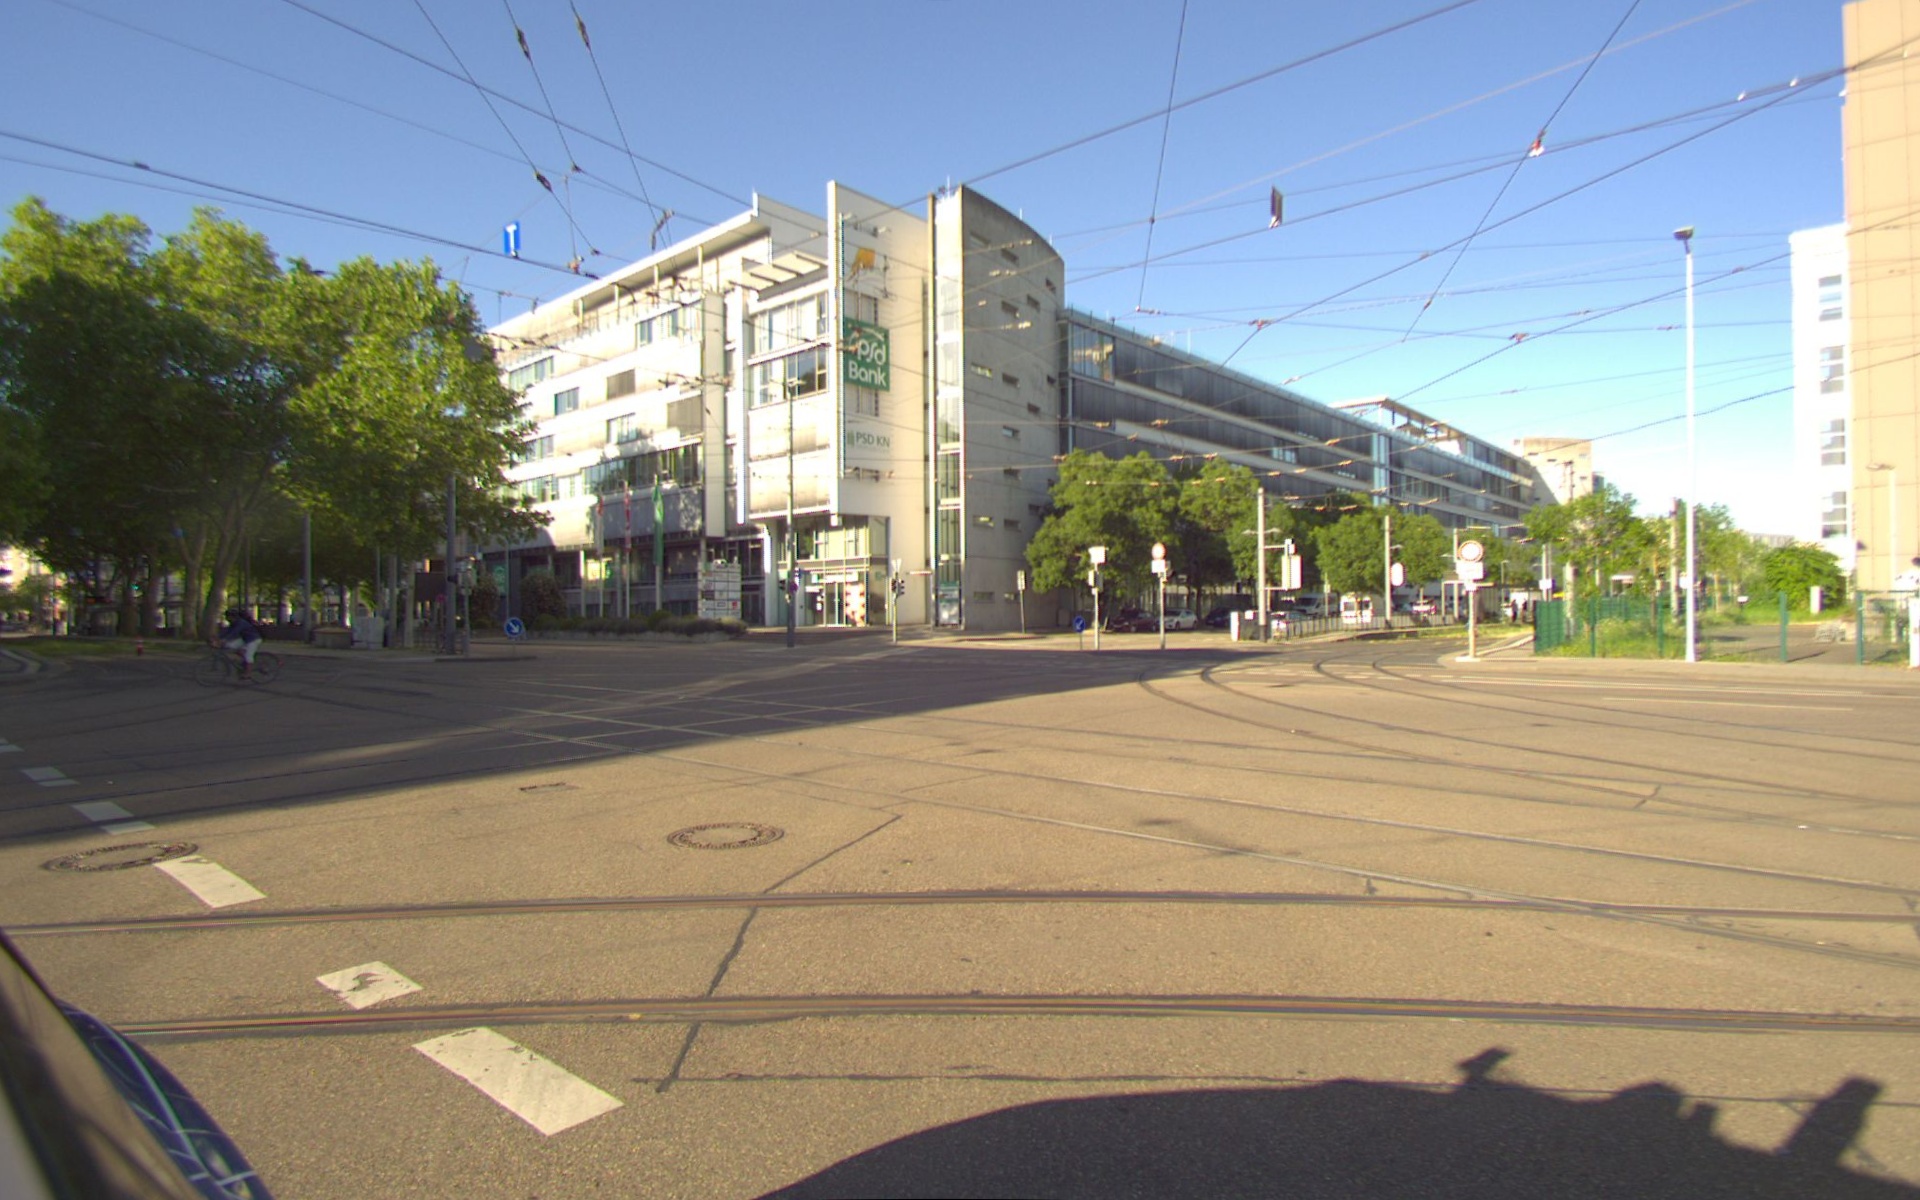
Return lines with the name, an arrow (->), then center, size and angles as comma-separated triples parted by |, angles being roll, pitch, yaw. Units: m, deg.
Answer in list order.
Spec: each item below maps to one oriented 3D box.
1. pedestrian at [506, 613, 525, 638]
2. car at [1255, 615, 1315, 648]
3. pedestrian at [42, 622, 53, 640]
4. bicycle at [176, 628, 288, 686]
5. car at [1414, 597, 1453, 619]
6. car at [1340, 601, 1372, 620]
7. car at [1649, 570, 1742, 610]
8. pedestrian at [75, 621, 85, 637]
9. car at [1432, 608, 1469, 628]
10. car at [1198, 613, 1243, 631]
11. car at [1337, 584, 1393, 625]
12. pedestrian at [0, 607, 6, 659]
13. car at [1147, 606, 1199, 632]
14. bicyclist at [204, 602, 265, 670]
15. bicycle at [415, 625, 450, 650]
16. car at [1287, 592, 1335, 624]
pedestrian -> -28.874, 1.639, 65.777 | 0.767, 1.604, 0.896 | -2, -2, 42
car -> 18.044, 1.714, 56.079 | 2.104, 1.710, 3.923 | -2, -1, 35
pedestrian -> -92.133, 3.137, 102.201 | 0.674, 1.767, 0.649 | -2, -1, 34
bicycle -> -16.521, 1.261, 23.028 | 0.587, 1.198, 2.025 | -2, 0, 25
car -> 35.487, 0.607, 75.745 | 1.752, 1.570, 3.898 | -2, -1, 39
car -> 36.631, 0.947, 93.556 | 1.734, 1.666, 3.750 | -2, -1, 39
car -> 41.012, -0.522, 56.452 | 3.998, 2.029, 1.972 | -2, -1, 42
pedestrian -> -80.189, 2.648, 92.189 | 0.549, 1.508, 0.548 | -2, -1, 31
car -> 38.752, 1.405, 79.921 | 1.752, 1.570, 3.899 | -2, -1, 38
car -> 19.052, 1.594, 73.925 | 1.807, 1.198, 3.750 | -2, -1, 39
car -> 26.443, 0.279, 65.998 | 2.180, 2.524, 4.343 | -2, -1, 39
pedestrian -> -32.814, 1.118, 34.245 | 0.725, 1.760, 0.712 | -1, -1, -43
car -> 14.326, 1.277, 68.031 | 1.734, 1.666, 3.900 | -2, -1, 41
bicyclist -> -16.520, 0.812, 23.055 | 0.719, 1.505, 0.874 | -2, -1, 25
bicycle -> -20.636, 1.456, 39.601 | 0.803, 0.953, 1.728 | -1, -1, -42
car -> 29.976, 0.669, 86.336 | 2.230, 2.674, 5.062 | -2, -1, 39
